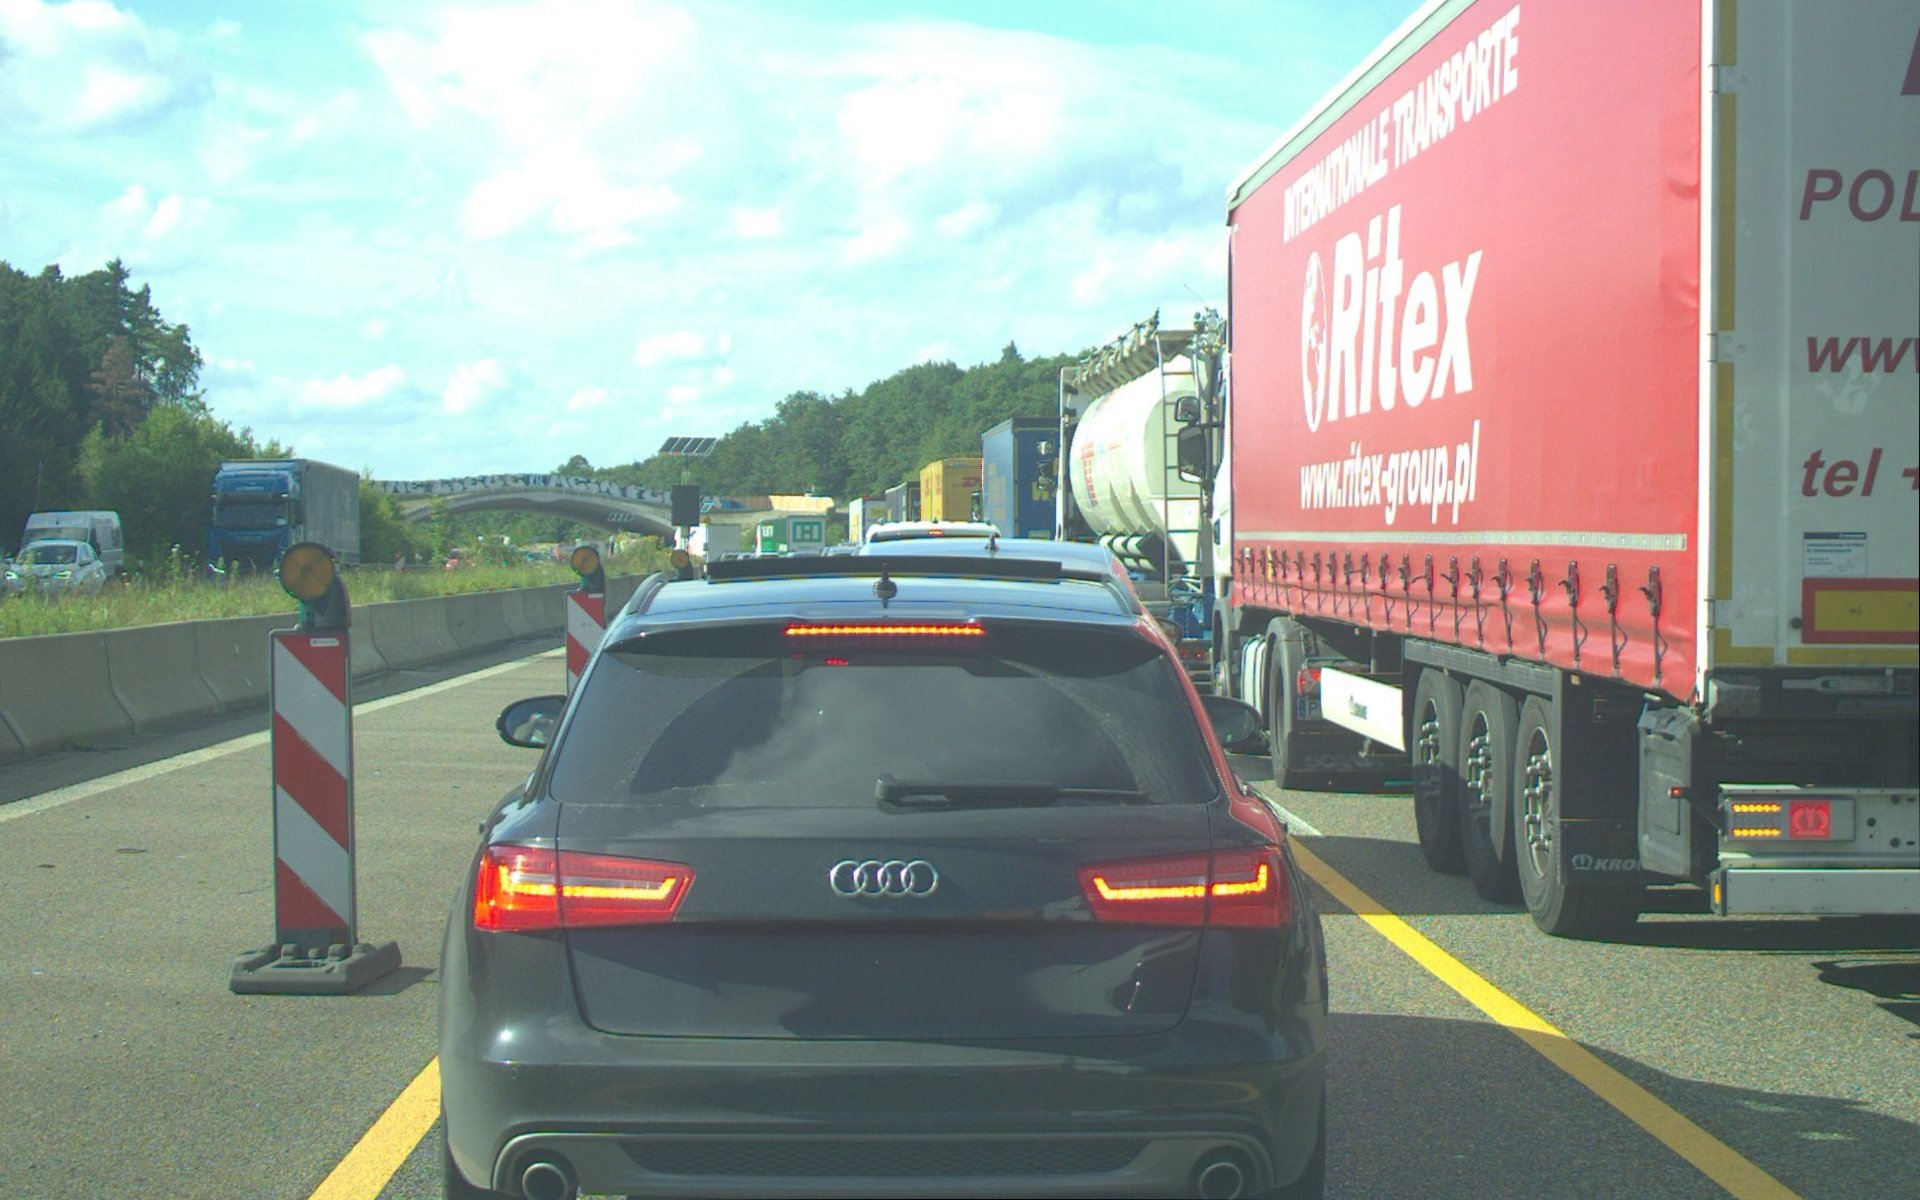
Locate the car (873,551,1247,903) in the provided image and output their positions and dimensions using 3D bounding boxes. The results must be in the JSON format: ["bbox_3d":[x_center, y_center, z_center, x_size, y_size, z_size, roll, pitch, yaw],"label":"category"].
[{"bbox_3d":[0.395,0.512,15.858,1.524,1.434,3.285,1,0,-1],"label":"car"}]

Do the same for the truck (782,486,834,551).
[{"bbox_3d":[-10.103,-5.373,228.530,3.304,4.160,9.703,0,1,-2],"label":"truck"}]

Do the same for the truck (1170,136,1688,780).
[{"bbox_3d":[3.071,-0.920,24.097,2.667,3.946,5.711,1,1,-1],"label":"truck"}]

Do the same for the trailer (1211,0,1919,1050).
[{"bbox_3d":[3.246,-0.750,16.894,2.699,3.955,13.418,1,1,-1],"label":"trailer"}]

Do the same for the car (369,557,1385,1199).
[{"bbox_3d":[-0.173,0.639,8.277,1.848,1.458,4.000,0,0,-1],"label":"car"}]

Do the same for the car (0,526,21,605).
[{"bbox_3d":[-25.459,-0.904,87.587,1.993,2.007,4.000,1,0,-1],"label":"car"}]

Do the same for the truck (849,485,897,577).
[{"bbox_3d":[-4.137,-3.240,164.099,2.137,4.243,7.072,1,0,-1],"label":"truck"}]

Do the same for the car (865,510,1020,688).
[{"bbox_3d":[-0.199,-0.022,37.418,1.581,1.830,3.112,1,0,-1],"label":"car"}]

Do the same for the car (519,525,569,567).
[{"bbox_3d":[-19.613,-2.533,162.106,1.993,1.941,4.000,1,0,-2],"label":"car"}]

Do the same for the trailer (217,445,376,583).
[{"bbox_3d":[-21.142,-2.706,110.332,2.619,4.127,13.373,1,1,-1],"label":"trailer"}]

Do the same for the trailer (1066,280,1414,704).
[{"bbox_3d":[2.824,-1.102,38.566,2.644,3.929,12.598,1,1,-1],"label":"trailer"}]

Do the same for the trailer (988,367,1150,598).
[{"bbox_3d":[2.136,-2.297,71.224,2.805,4.398,10.433,1,0,-1],"label":"trailer"}]

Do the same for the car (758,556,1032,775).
[{"bbox_3d":[-0.438,0.410,24.054,1.751,1.392,3.608,1,0,-1],"label":"car"}]

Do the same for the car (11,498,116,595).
[{"bbox_3d":[-25.373,-1.503,97.443,2.250,2.634,5.021,1,0,-8],"label":"car"}]

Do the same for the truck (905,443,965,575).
[{"bbox_3d":[-1.005,-3.458,132.389,1.993,4.897,9.563,1,1,-2],"label":"truck"}]

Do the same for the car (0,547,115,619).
[{"bbox_3d":[-20.247,-0.392,76.791,1.787,1.555,4.000,1,0,-1],"label":"car"}]

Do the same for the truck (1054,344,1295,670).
[{"bbox_3d":[2.711,-1.165,45.092,2.659,3.958,5.779,1,0,-1],"label":"truck"}]

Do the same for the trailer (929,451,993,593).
[{"bbox_3d":[-0.011,-2.195,98.855,1.616,3.905,6.490,1,0,-1],"label":"trailer"}]

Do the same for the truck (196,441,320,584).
[{"bbox_3d":[-21.048,-2.606,103.301,2.637,4.175,5.468,1,1,-1],"label":"truck"}]

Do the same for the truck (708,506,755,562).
[{"bbox_3d":[-17.473,-5.034,262.511,3.303,4.160,9.704,1,1,-5],"label":"truck"}]
